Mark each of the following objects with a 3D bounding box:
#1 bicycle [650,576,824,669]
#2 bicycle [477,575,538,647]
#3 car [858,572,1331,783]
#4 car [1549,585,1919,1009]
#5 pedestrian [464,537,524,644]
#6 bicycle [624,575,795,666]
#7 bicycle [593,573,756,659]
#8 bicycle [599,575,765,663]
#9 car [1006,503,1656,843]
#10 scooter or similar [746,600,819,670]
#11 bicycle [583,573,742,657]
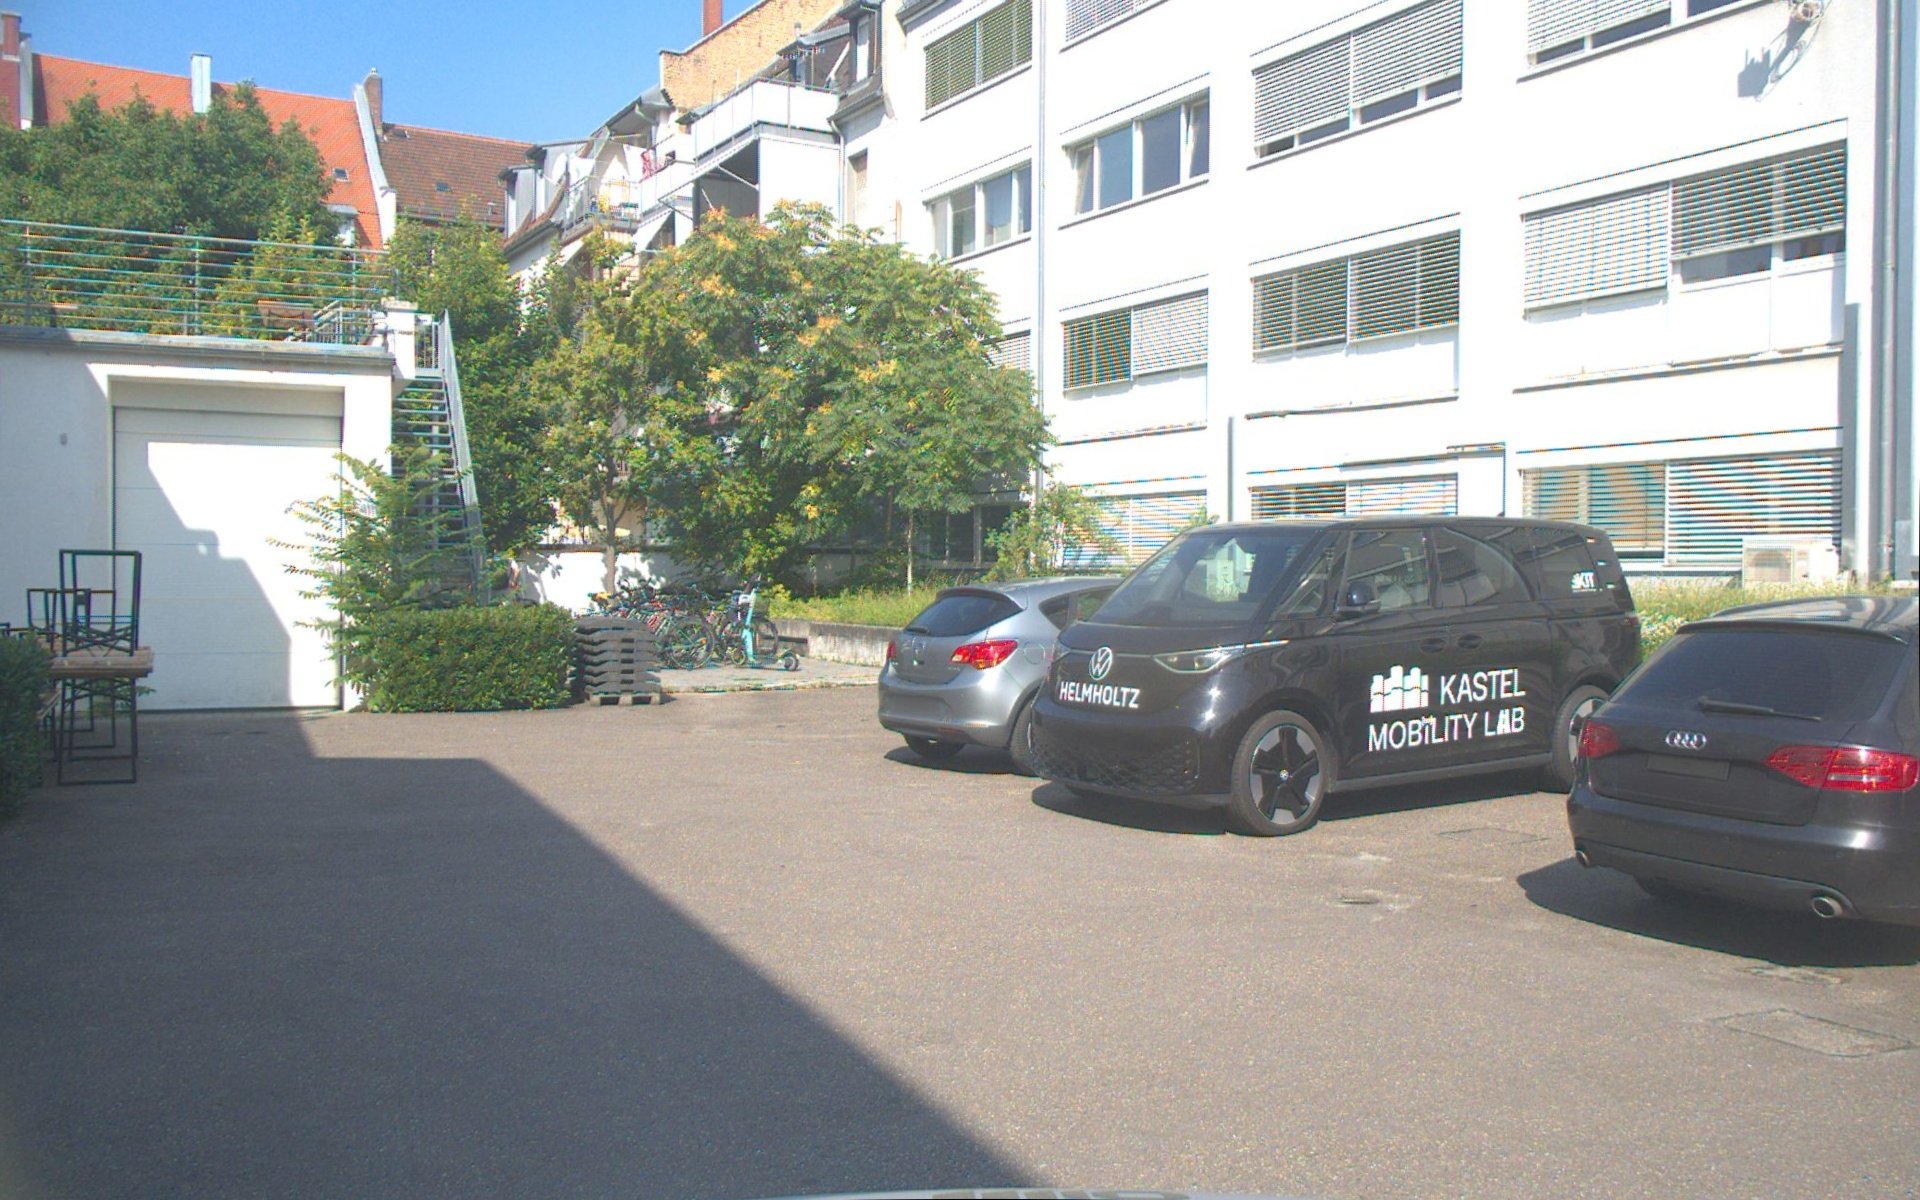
[{"bbox_3d":[-3.145,0.322,23.404,2.380,1.268,0.522,1,1,-25],"label":"bicycle"},{"bbox_3d":[-7.842,0.173,28.711,0.478,1.163,1.994,0,2,0],"label":"bicycle"},{"bbox_3d":[1.192,0.526,13.754,3.869,1.491,1.641,-1,2,-38],"label":"car"},{"bbox_3d":[4.856,0.678,7.549,4.181,1.462,1.676,-1,2,-26],"label":"car"},{"bbox_3d":[-8.049,-0.165,28.599,0.840,1.802,0.611,1,1,0],"label":"pedestrian"},{"bbox_3d":[-3.611,0.297,23.931,2.380,1.268,0.522,1,1,-25],"label":"bicycle"},{"bbox_3d":[-4.339,0.252,25.193,2.380,1.268,0.522,1,1,-25],"label":"bicycle"},{"bbox_3d":[-4.125,0.279,24.629,2.380,1.268,0.522,1,1,-25],"label":"bicycle"},{"bbox_3d":[2.591,0.356,11.197,4.297,1.891,1.892,-1,2,-34],"label":"car"},{"bbox_3d":[-2.493,0.482,23.266,0.977,0.940,0.360,1,1,28],"label":"scooter or similar"},{"bbox_3d":[-4.629,0.237,25.787,2.380,1.268,0.522,1,1,-25],"label":"bicycle"}]
